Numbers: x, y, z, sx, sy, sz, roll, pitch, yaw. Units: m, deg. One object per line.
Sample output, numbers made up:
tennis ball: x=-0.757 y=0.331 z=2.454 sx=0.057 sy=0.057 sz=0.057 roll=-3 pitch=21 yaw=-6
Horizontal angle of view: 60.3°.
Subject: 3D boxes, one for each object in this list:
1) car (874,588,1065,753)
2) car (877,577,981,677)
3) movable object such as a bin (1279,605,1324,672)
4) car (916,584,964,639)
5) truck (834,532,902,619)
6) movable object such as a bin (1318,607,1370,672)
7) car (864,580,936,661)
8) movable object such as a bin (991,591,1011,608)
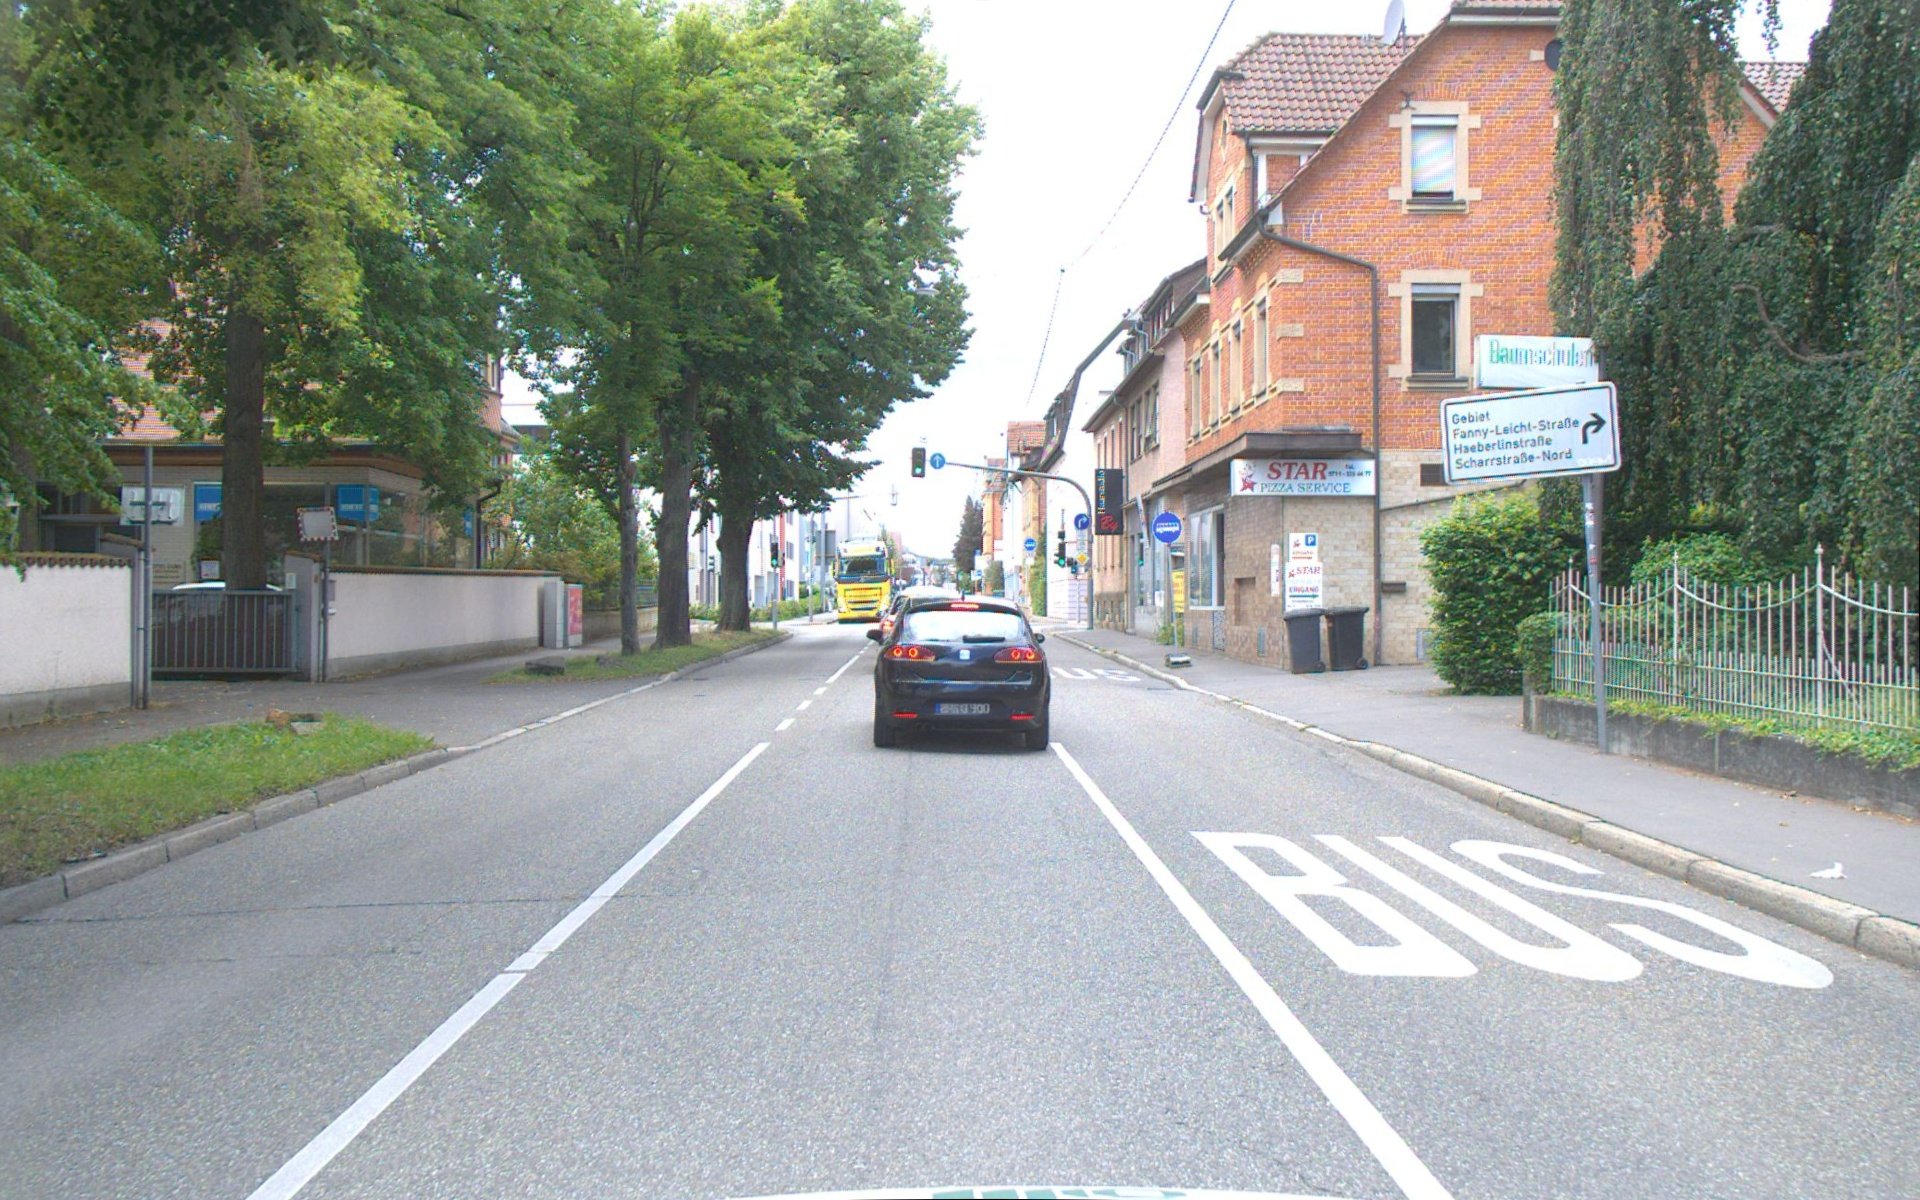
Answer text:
car: x=0.053 y=0.654 z=17.146 sx=1.723 sy=1.467 sz=3.999 roll=1 pitch=0 yaw=-1
car: x=-0.594 y=0.486 z=31.176 sx=1.805 sy=1.723 sz=3.999 roll=1 pitch=0 yaw=-1
movable object such as a bin: x=5.801 y=0.648 z=28.093 sx=0.594 sy=1.120 sz=0.622 roll=-1 pitch=-1 yaw=-1
car: x=-0.684 y=0.377 z=54.271 sx=1.500 sy=1.723 sz=3.692 roll=1 pitch=0 yaw=-1
truck: x=-4.323 y=-1.092 z=78.829 sx=2.786 sy=3.848 sz=7.668 roll=1 pitch=0 yaw=-1
movable object such as a bin: x=6.528 y=0.664 z=28.117 sx=0.684 sy=1.077 sz=0.723 roll=-2 pitch=0 yaw=-1
car: x=-1.338 y=0.452 z=37.570 sx=1.500 sy=1.723 sz=3.692 roll=1 pitch=0 yaw=-1
movable object such as a bin: x=3.885 y=-0.040 z=156.253 sx=1.781 sy=1.462 sz=1.992 roll=1 pitch=0 yaw=0
